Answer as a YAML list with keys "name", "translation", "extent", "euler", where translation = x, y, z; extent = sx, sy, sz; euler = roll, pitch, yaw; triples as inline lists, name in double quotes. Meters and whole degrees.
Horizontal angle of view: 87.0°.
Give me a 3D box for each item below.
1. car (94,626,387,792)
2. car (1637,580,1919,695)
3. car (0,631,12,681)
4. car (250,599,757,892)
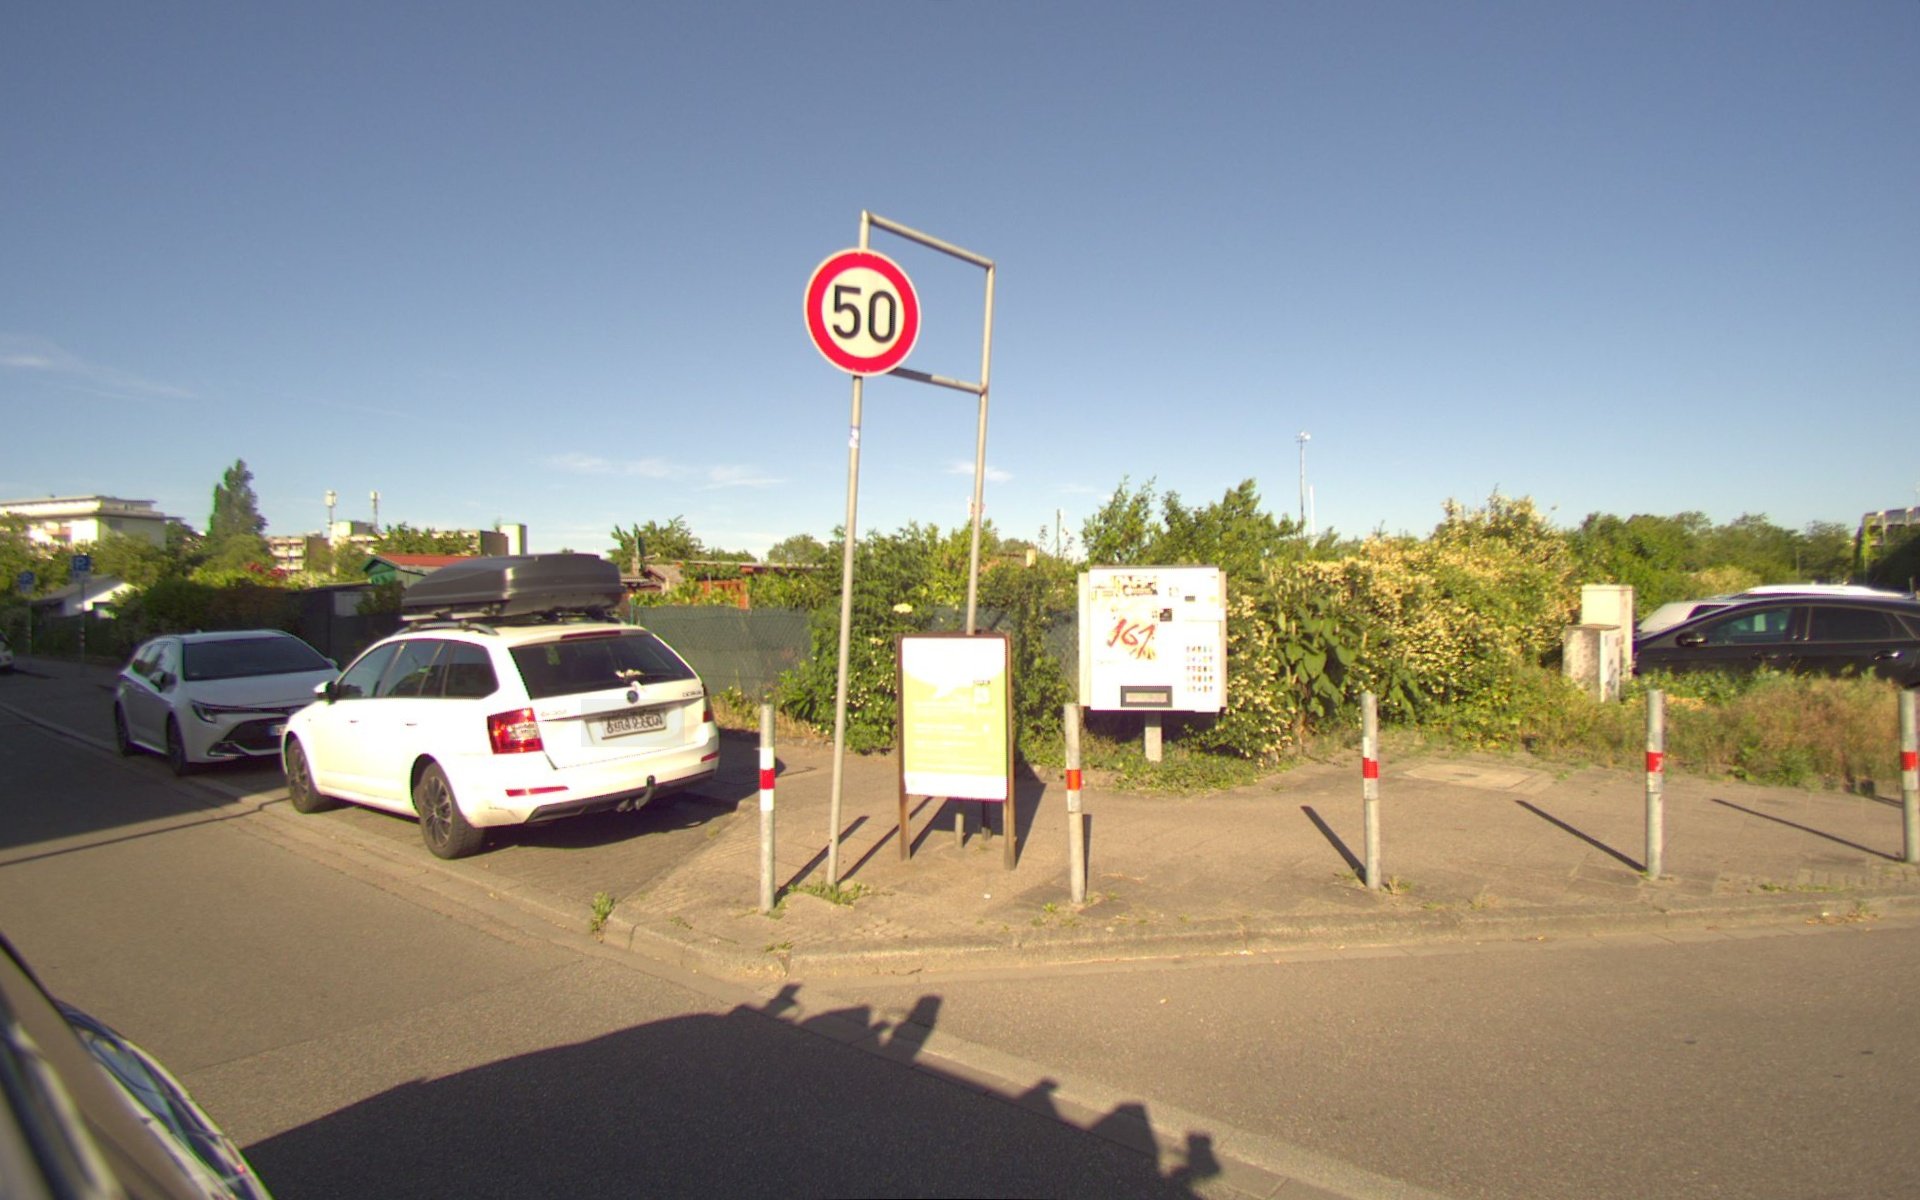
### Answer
- name: "car"
  translation: [-8.529, 1.113, 11.827]
  extent: [4.539, 1.456, 1.729]
  euler: [-2, 2, 41]
- name: "car"
  translation: [13.660, 0.595, 16.720]
  extent: [1.488, 1.707, 3.849]
  euler: [0, -1, -43]
- name: "car"
  translation: [-30.616, 1.740, 31.290]
  extent: [3.399, 1.499, 1.512]
  euler: [-2, -1, 41]
- name: "car"
  translation: [-3.659, 0.870, 7.652]
  extent: [4.514, 1.524, 1.679]
  euler: [-2, 1, 41]
